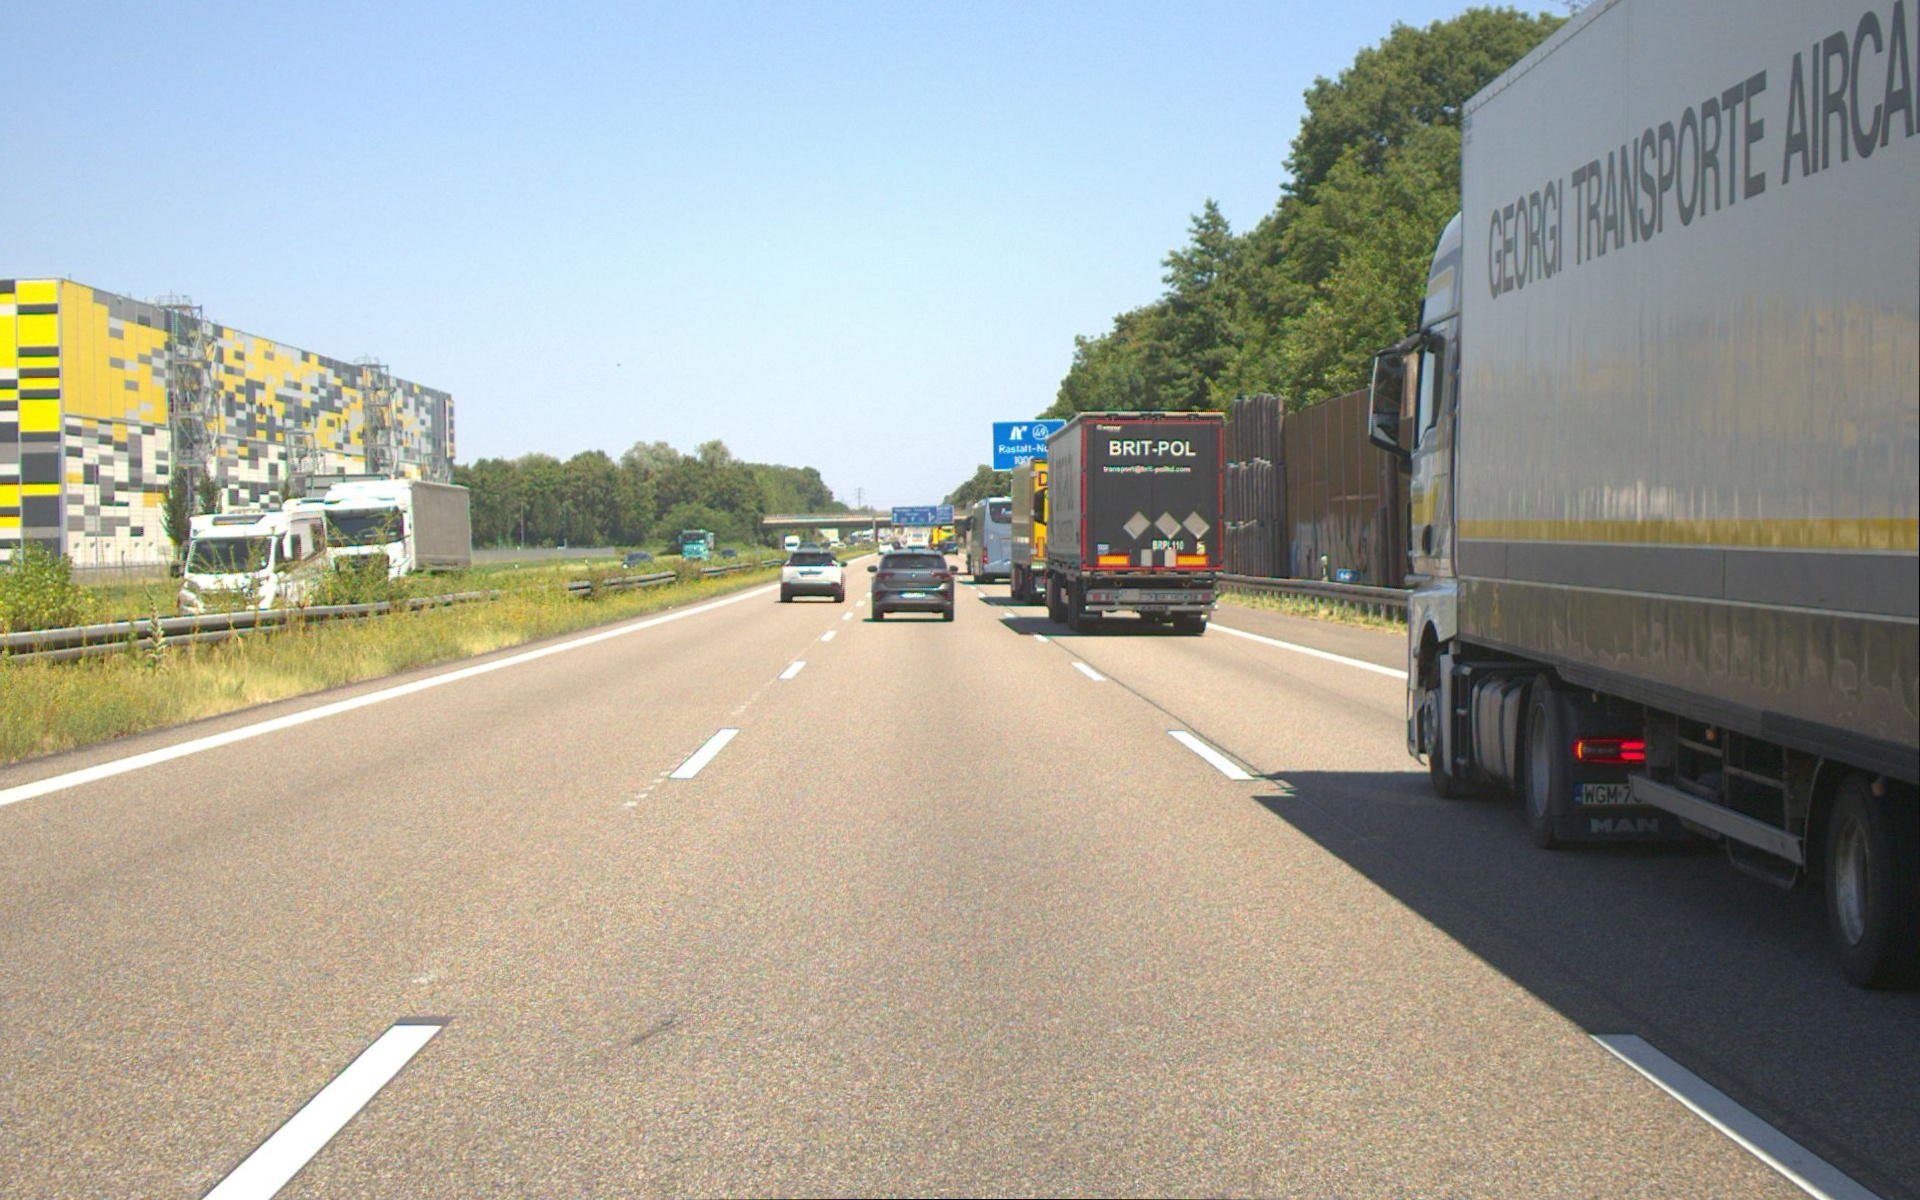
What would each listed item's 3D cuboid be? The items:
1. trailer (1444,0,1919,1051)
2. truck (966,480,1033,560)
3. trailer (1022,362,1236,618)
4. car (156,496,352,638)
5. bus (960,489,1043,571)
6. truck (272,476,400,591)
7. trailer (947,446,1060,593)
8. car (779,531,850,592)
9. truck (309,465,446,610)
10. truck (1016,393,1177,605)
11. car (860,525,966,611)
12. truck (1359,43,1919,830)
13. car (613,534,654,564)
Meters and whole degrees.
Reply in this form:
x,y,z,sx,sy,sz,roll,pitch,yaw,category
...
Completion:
x,y,z,sx,sy,sz,roll,pitch,yaw,category
4.356,-0.813,12.691,2.993,4.274,13.419,0,1,-1,trailer
2.077,-4.316,185.871,3.422,4.112,9.565,-1,1,0,truck
3.116,-2.051,68.085,3.106,4.491,14.897,0,1,-1,trailer
-15.691,-0.770,76.952,2.547,2.971,8.084,-1,1,1,car
1.740,-2.996,147.363,3.062,3.315,8.275,-1,1,-2,bus
-22.721,-2.426,125.749,2.648,3.871,10.828,-3,1,-1,truck
1.140,-2.289,98.118,2.834,3.940,11.685,0,1,-1,trailer
-4.188,-1.132,99.413,1.993,1.722,4.131,0,1,-2,car
-18.535,-1.980,109.795,3.160,4.411,6.981,-1,1,-1,truck
2.900,-2.153,75.003,3.087,4.425,6.053,0,1,-2,truck
-1.050,-0.726,75.334,2.216,1.784,5.394,-1,1,-1,car
4.238,-0.887,20.606,3.002,4.110,5.253,0,1,-1,truck
-20.199,-3.155,212.646,1.993,1.674,5.552,-2,-1,0,car
